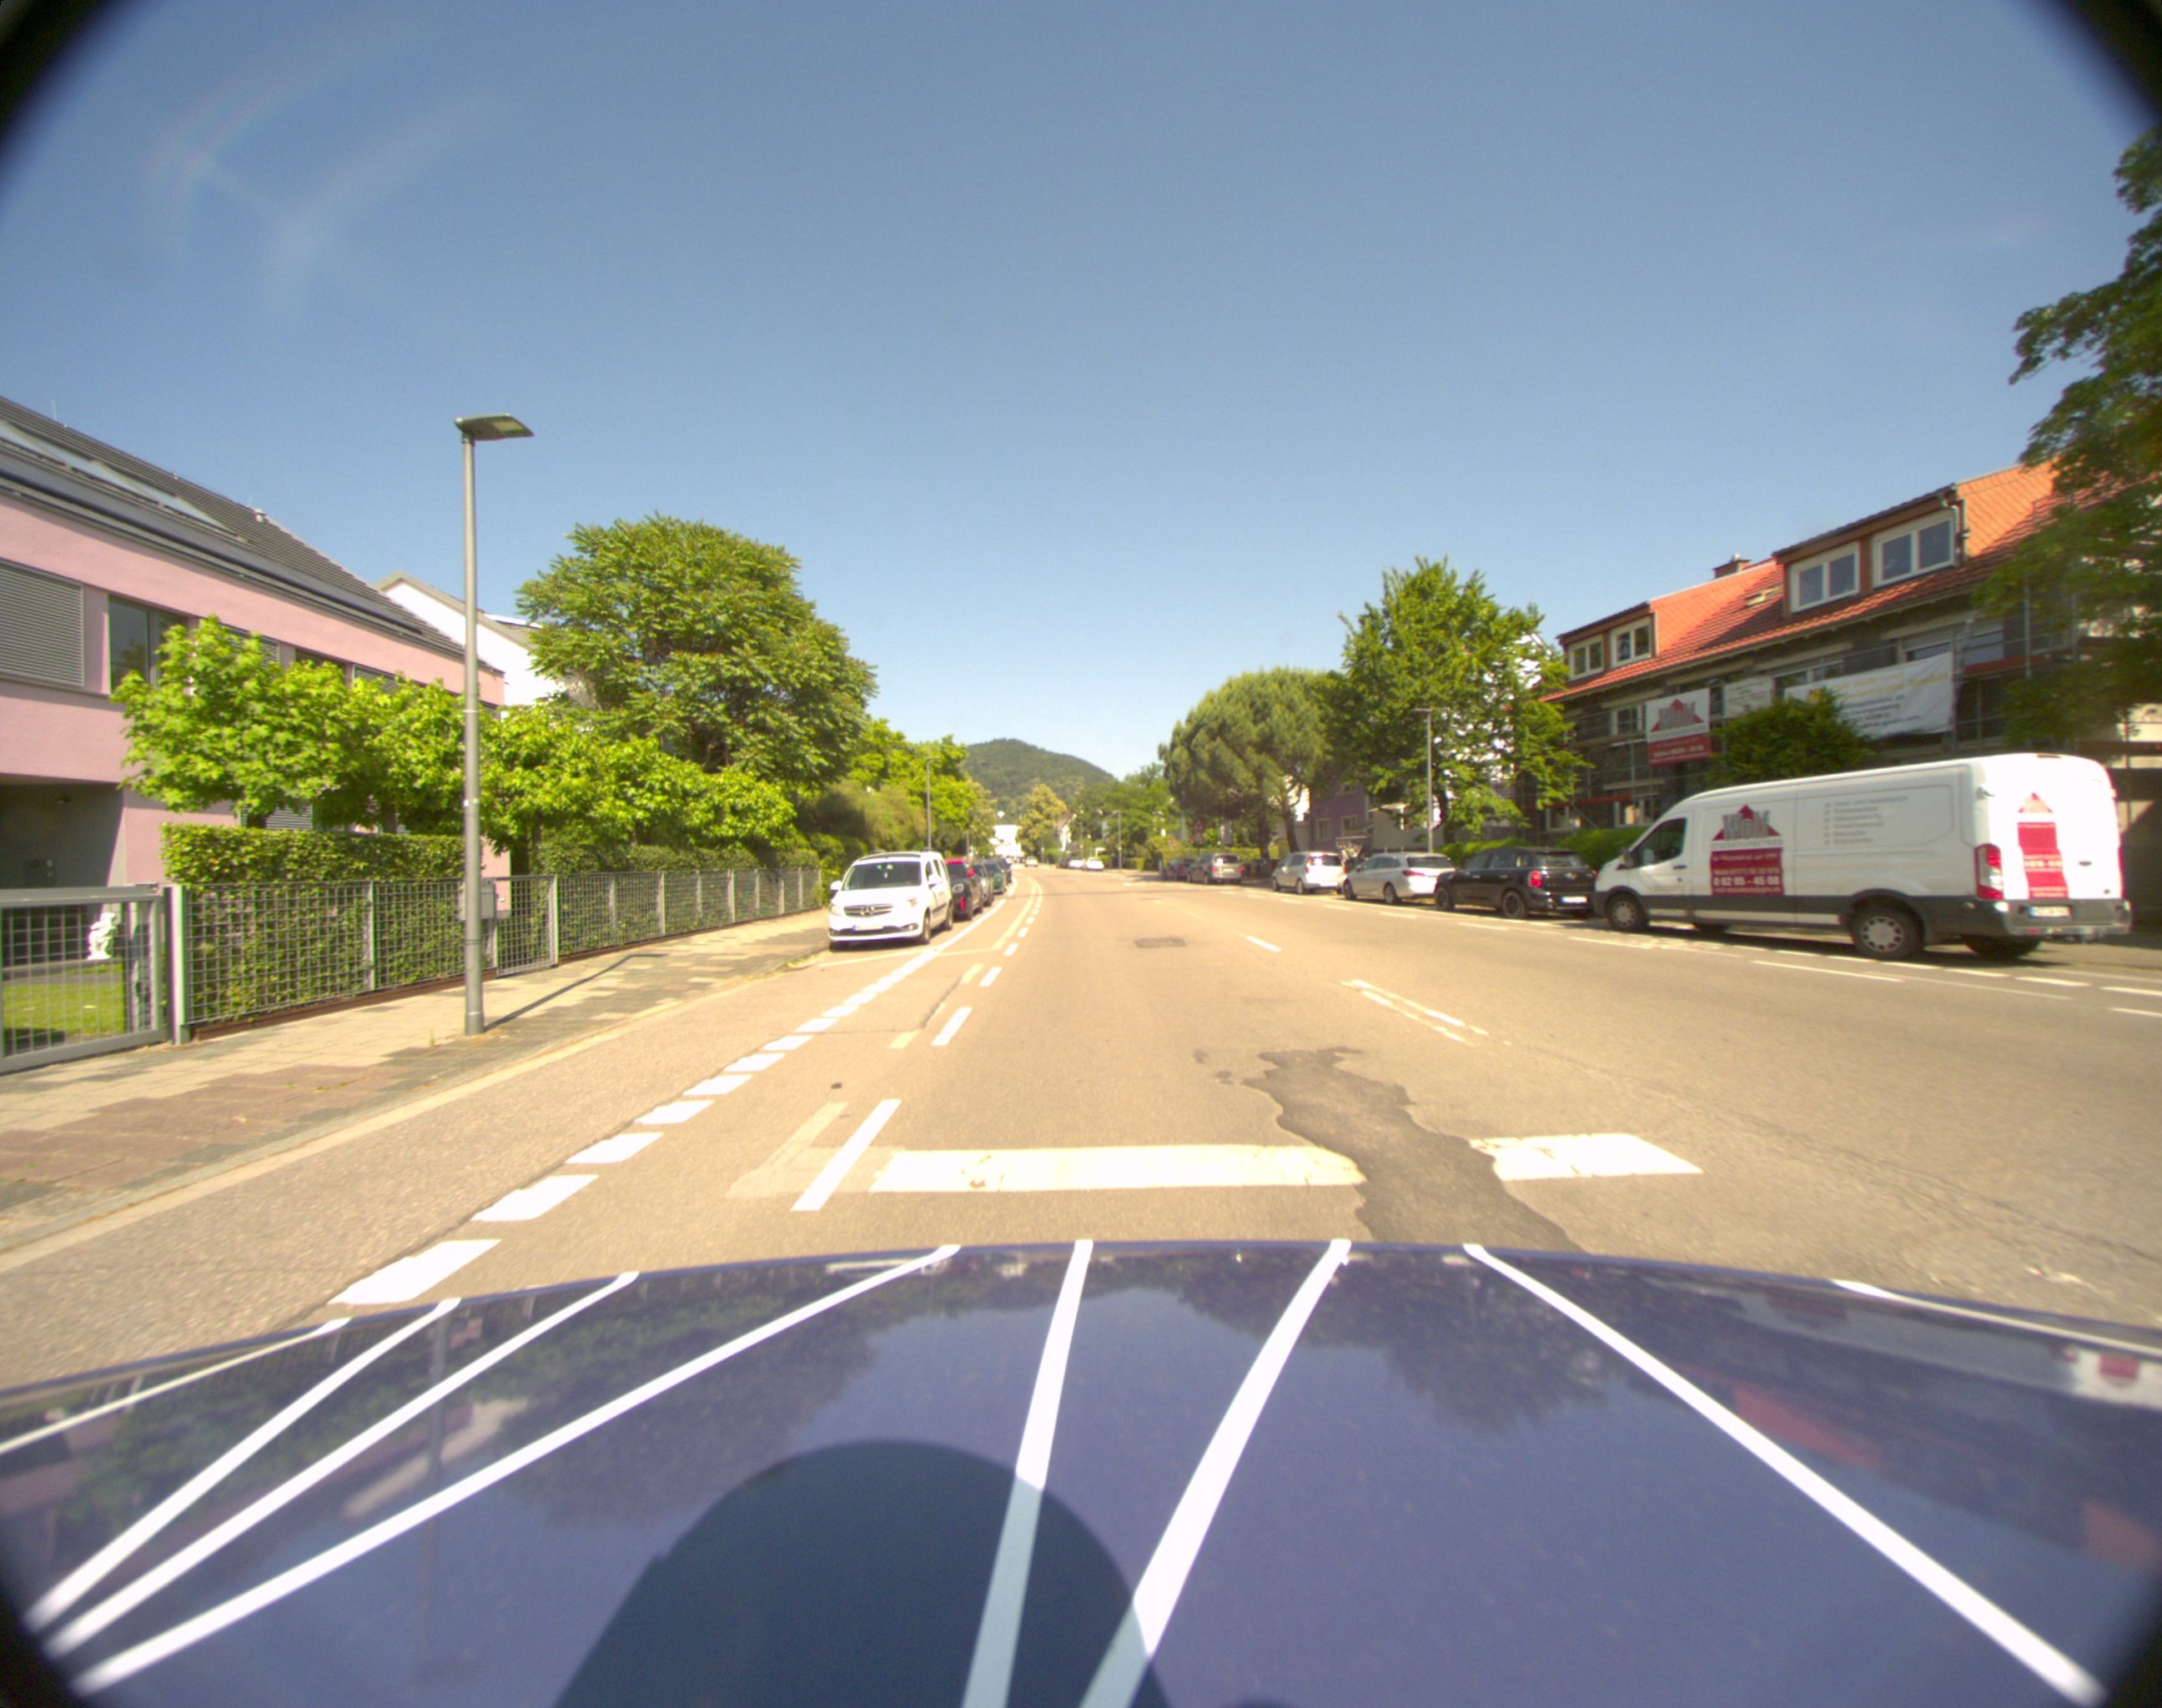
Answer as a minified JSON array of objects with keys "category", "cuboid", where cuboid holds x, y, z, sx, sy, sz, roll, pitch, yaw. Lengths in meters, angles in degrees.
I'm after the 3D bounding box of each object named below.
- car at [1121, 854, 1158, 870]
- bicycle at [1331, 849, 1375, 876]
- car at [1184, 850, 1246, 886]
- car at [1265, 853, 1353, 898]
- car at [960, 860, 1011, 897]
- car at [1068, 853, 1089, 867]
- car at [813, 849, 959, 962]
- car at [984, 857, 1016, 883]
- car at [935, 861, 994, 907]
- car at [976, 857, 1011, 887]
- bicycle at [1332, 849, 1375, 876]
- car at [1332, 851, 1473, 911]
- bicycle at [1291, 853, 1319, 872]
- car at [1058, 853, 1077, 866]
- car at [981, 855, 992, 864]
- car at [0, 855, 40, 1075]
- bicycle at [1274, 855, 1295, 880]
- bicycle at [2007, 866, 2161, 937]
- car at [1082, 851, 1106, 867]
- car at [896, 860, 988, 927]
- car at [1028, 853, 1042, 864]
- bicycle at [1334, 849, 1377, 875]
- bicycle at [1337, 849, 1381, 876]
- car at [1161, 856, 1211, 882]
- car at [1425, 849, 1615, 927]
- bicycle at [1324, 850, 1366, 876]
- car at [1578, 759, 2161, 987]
[{"category":"car","cuboid":[6.475,0.891,84.198,3.996,1.805,2.001,0,0,3]},{"category":"bicycle","cuboid":[14.238,0.428,39.746,2.179,1.375,0.502,0,0,-10]},{"category":"car","cuboid":[6.831,0.689,39.275,1.847,1.754,4.582,0,0,-8]},{"category":"car","cuboid":[8.377,0.751,28.314,1.725,1.550,3.998,0,0,-6]},{"category":"car","cuboid":[-4.266,1.054,34.541,1.817,1.454,4.787,-4,0,-2]},{"category":"car","cuboid":[-0.345,0.656,90.638,2.000,1.608,3.997,-1,0,-7]},{"category":"car","cuboid":[-3.744,0.873,15.447,1.767,1.816,4.597,-3,1,-1]},{"category":"car","cuboid":[-5.250,1.005,49.886,1.817,1.550,4.598,-4,0,-4]},{"category":"car","cuboid":[-3.974,0.978,26.364,1.767,1.435,4.067,0,0,-5]},{"category":"car","cuboid":[-5.084,1.030,44.668,1.817,1.550,3.915,-5,0,-5]},{"category":"bicycle","cuboid":[14.484,0.446,40.344,2.179,1.375,0.502,0,0,-10]},{"category":"car","cuboid":[9.150,0.708,22.131,1.725,1.550,4.670,0,0,-6]},{"category":"bicycle","cuboid":[12.183,0.442,41.274,1.917,0.948,0.458,-2,1,-41]},{"category":"car","cuboid":[-1.792,0.669,100.571,2.000,1.674,3.997,-1,0,-7]},{"category":"car","cuboid":[-18.967,1.015,152.397,2.000,1.696,3.996,-2,1,-11]},{"category":"car","cuboid":[-10.859,0.929,4.992,5.100,1.696,1.978,-2,0,-2]},{"category":"bicycle","cuboid":[10.869,0.711,40.595,0.459,1.259,1.913,-1,0,-5]},{"category":"bicycle","cuboid":[16.063,0.730,12.006,2.074,0.995,0.775,-2,1,-5]},{"category":"car","cuboid":[1.287,0.533,78.952,1.960,1.543,3.997,-1,0,-7]},{"category":"car","cuboid":[-3.643,0.974,20.650,1.767,1.584,4.313,-1,0,-1]},{"category":"car","cuboid":[-7.821,0.723,127.607,2.006,1.803,4.762,0,0,-8]},{"category":"bicycle","cuboid":[14.802,0.448,40.964,2.179,1.375,0.502,0,0,-10]},{"category":"bicycle","cuboid":[14.325,0.422,39.150,2.179,1.375,0.502,0,0,-10]},{"category":"car","cuboid":[6.108,0.852,44.639,1.847,1.449,4.191,0,0,-8]},{"category":"car","cuboid":[9.775,0.695,17.330,1.725,1.550,3.998,0,0,-6]},{"category":"bicycle","cuboid":[14.393,0.489,41.433,2.179,1.375,0.502,0,0,-10]},{"category":"car","cuboid":[10.792,0.227,11.391,2.096,2.482,5.948,0,0,-10]}]
